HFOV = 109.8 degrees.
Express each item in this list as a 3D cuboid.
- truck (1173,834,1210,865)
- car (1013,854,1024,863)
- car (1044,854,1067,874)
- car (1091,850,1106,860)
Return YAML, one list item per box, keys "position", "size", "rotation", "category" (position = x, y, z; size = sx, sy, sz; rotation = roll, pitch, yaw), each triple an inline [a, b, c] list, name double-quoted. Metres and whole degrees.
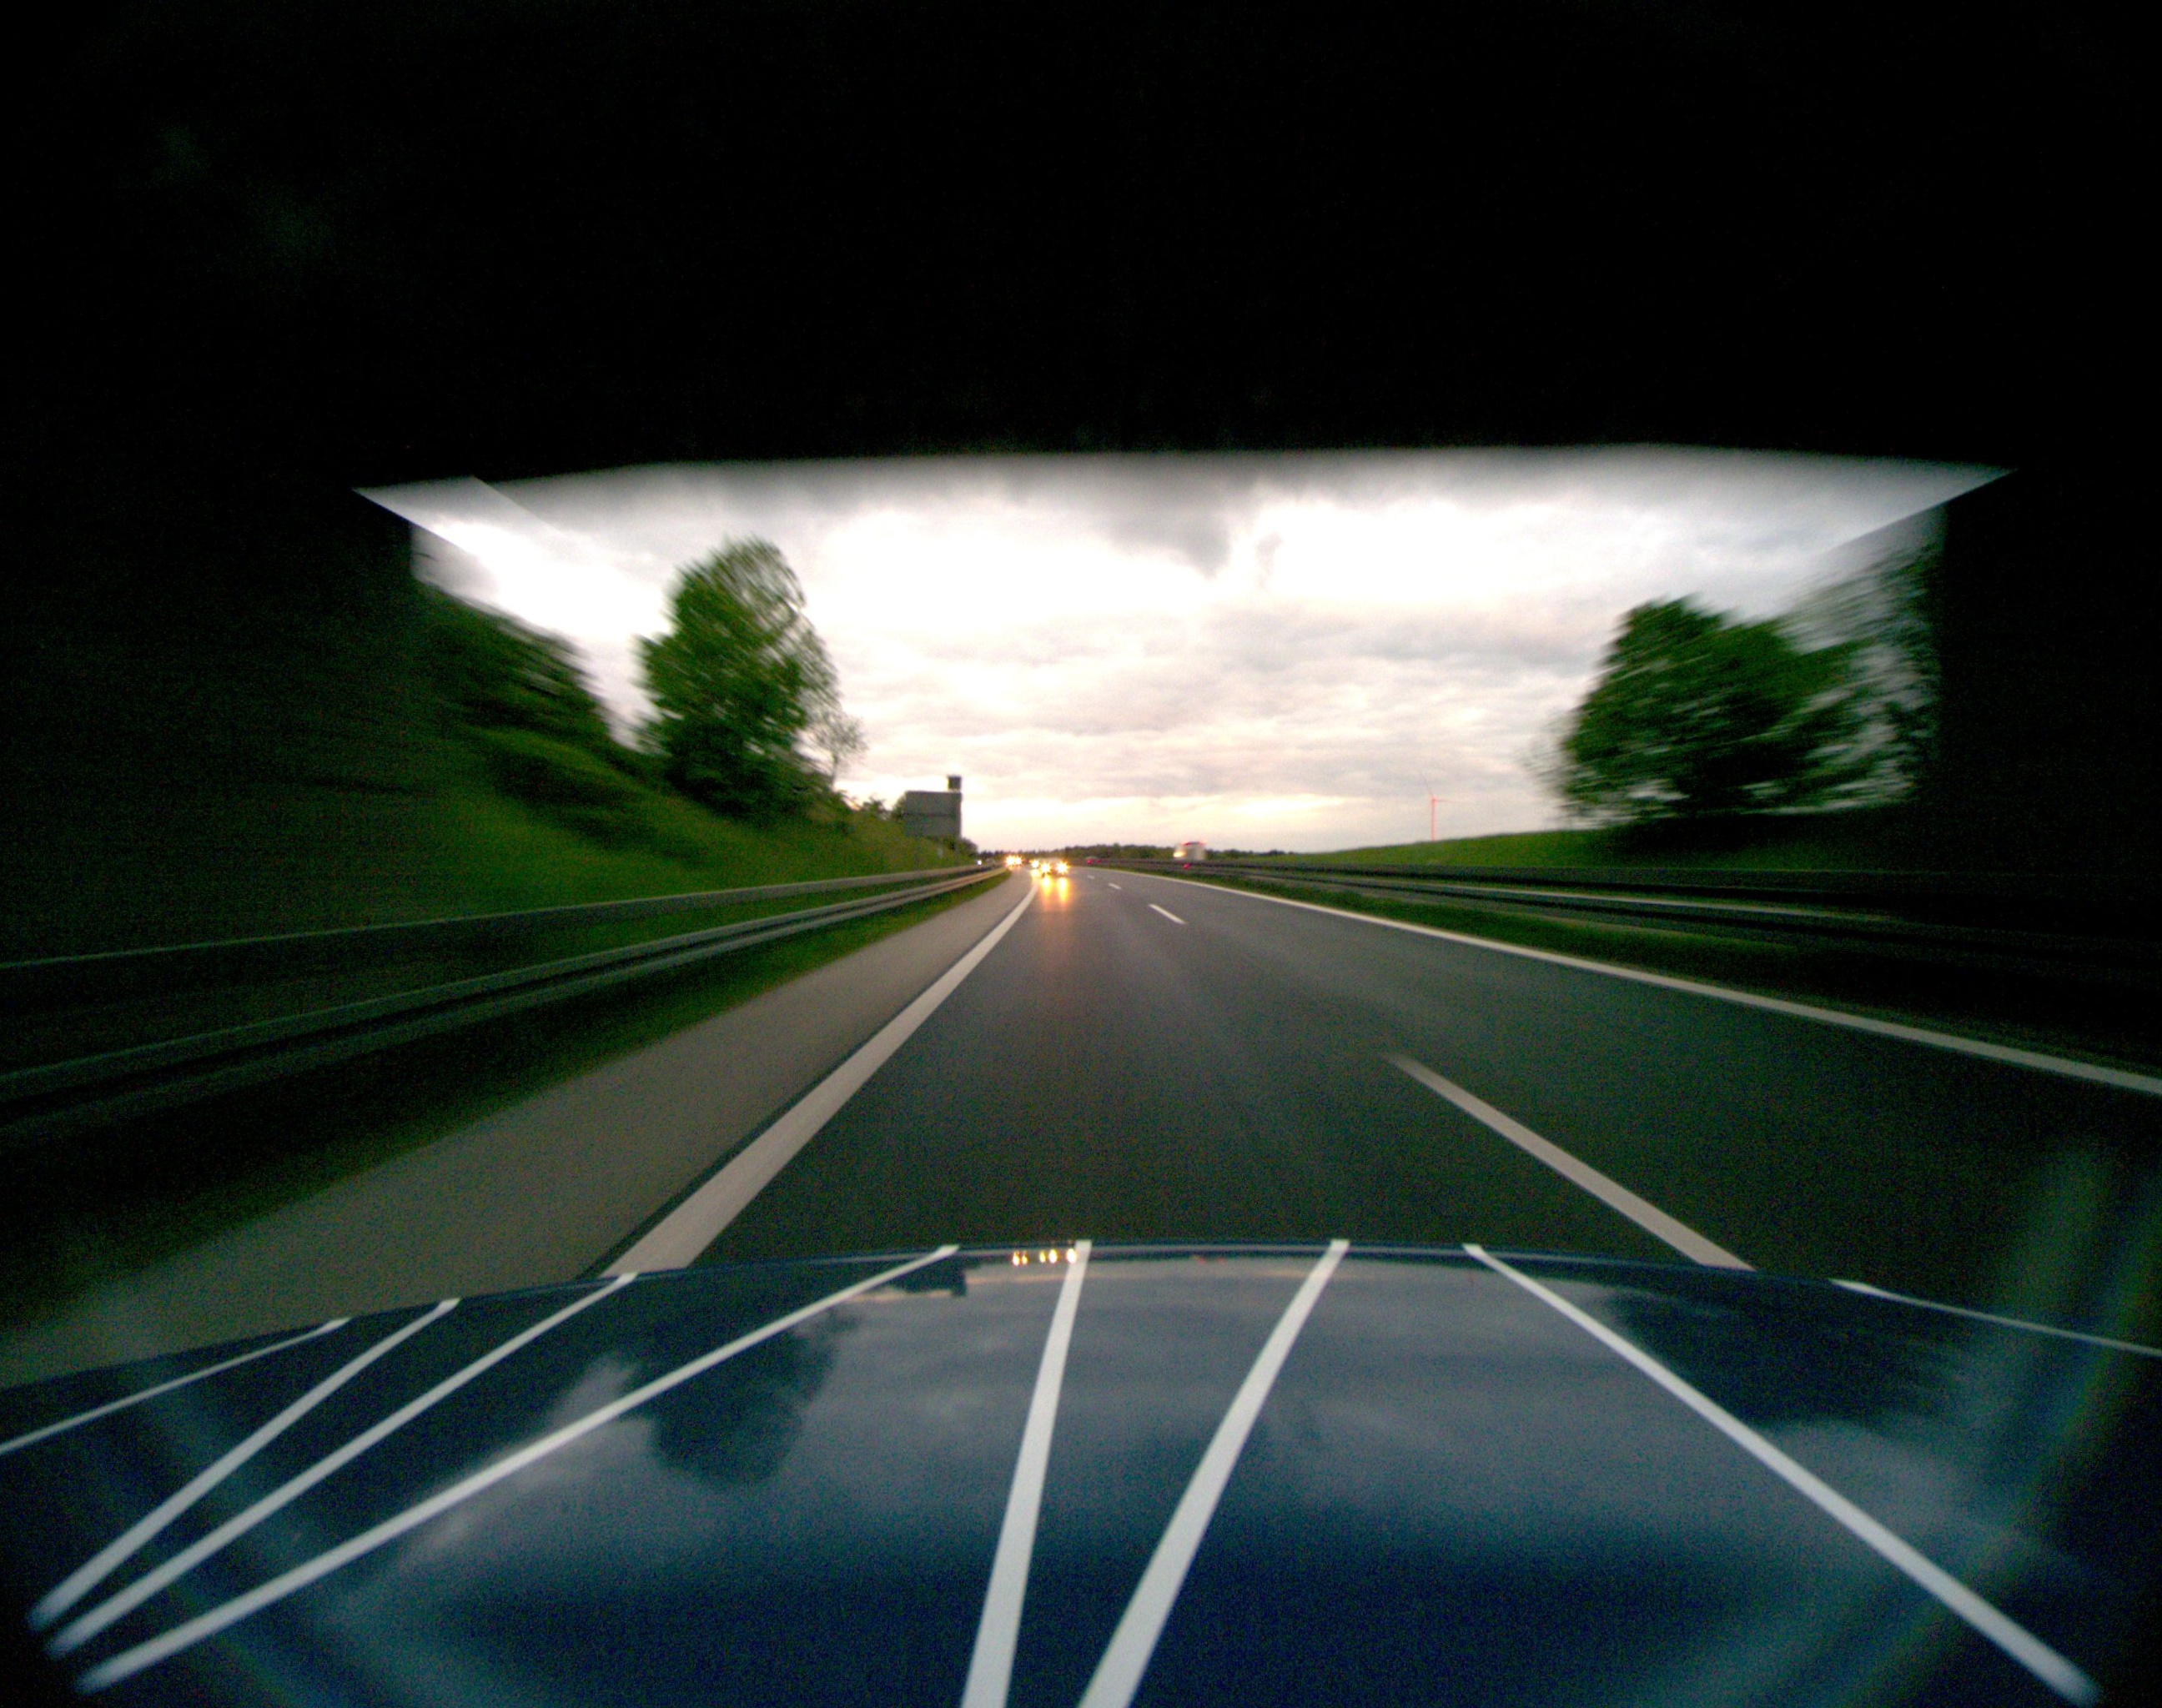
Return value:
- position: [12.037, -0.493, 83.625]
  size: [2.619, 3.092, 6.665]
  rotation: [-2, 1, -4]
  category: "truck"
- position: [-12.341, 0.909, 150.583]
  size: [1.921, 1.827, 3.998]
  rotation: [0, -1, -7]
  category: "car"
- position: [-2.063, 0.756, 60.472]
  size: [1.682, 1.504, 3.998]
  rotation: [-1, 0, -4]
  category: "car"
- position: [3.004, 0.109, 133.010]
  size: [1.781, 1.705, 4.633]
  rotation: [-2, 0, -8]
  category: "car"
